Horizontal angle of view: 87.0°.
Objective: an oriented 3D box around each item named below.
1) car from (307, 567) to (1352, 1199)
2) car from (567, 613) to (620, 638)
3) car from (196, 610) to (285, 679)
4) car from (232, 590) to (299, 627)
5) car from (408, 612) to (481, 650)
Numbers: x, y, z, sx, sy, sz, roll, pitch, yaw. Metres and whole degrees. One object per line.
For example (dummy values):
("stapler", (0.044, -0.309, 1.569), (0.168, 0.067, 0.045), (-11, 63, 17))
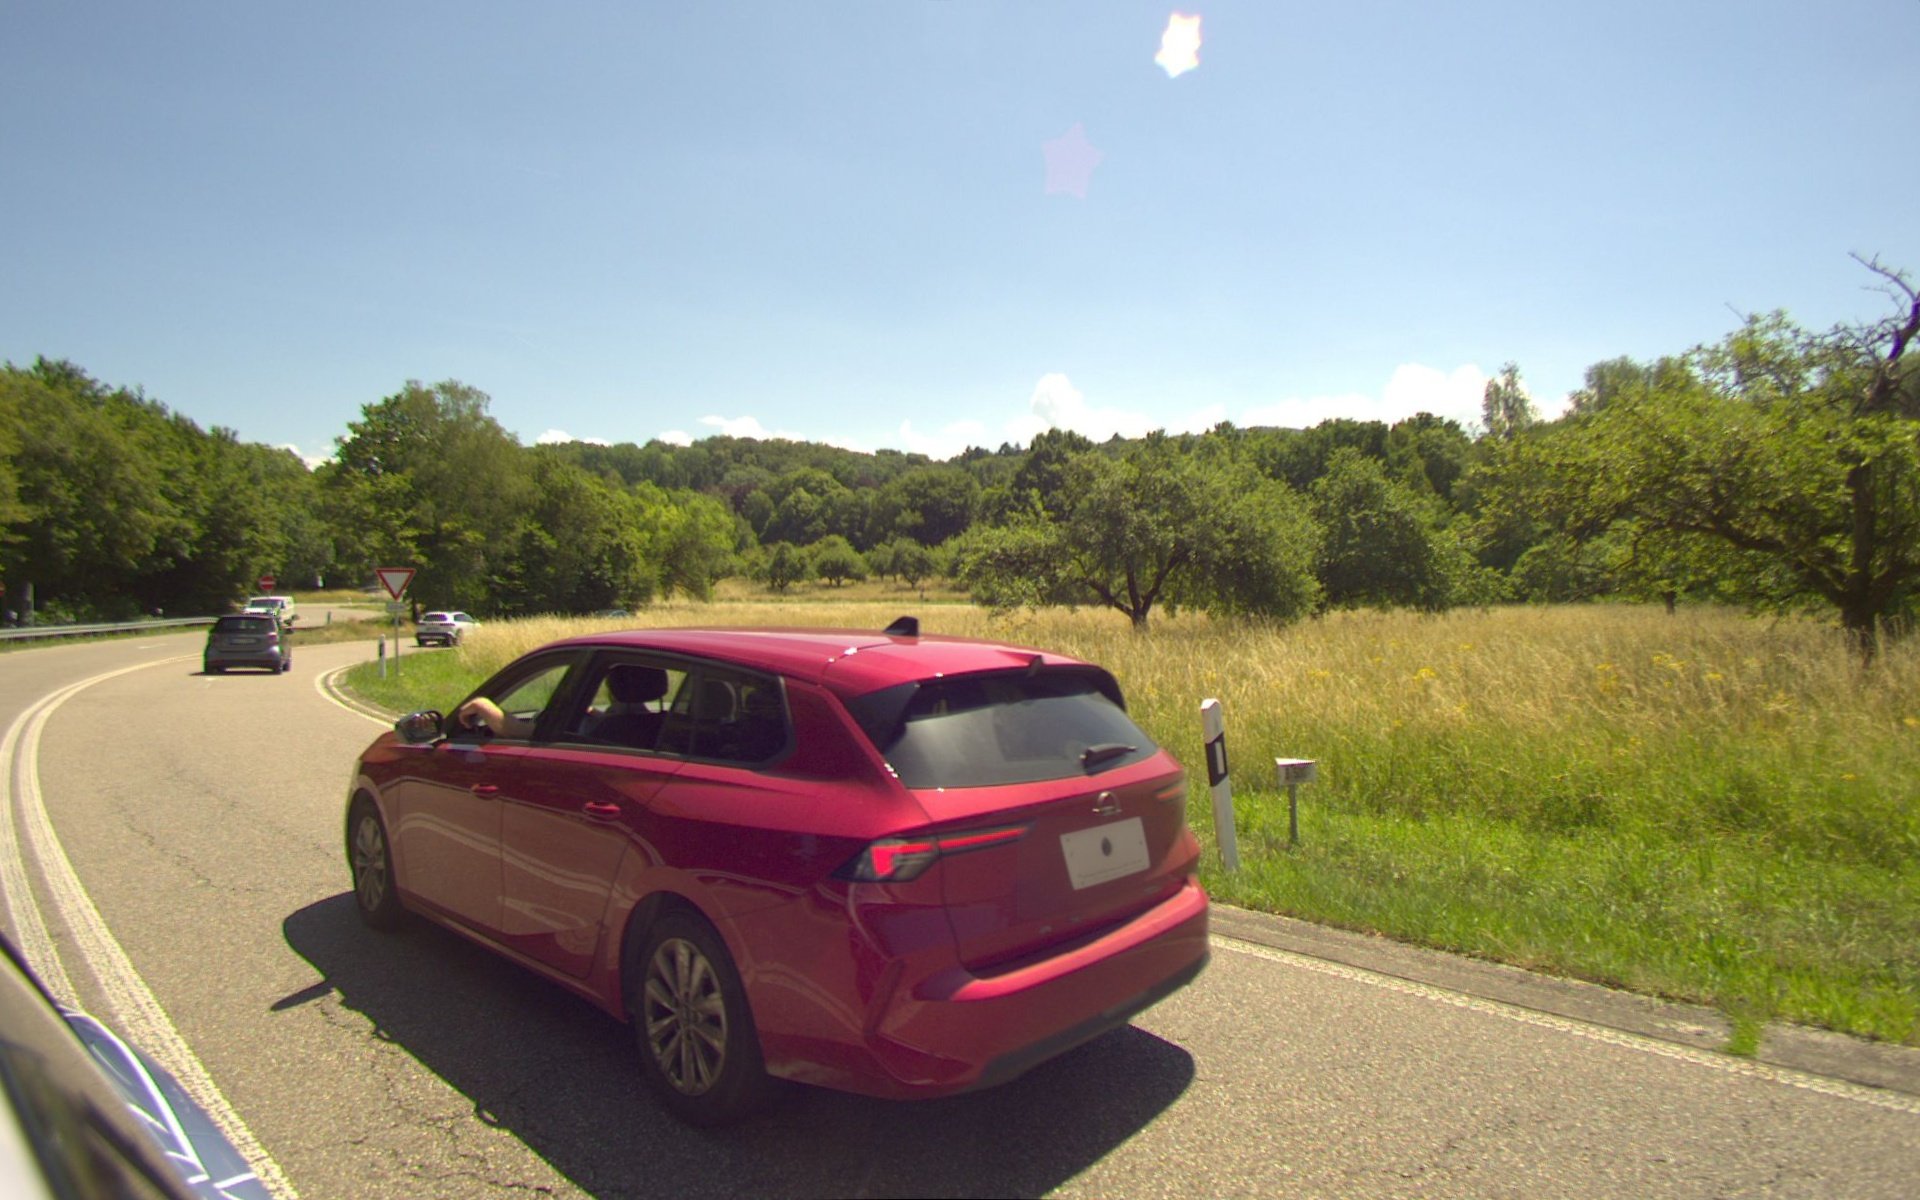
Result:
("car", (-0.953, 0.684, 4.150), (4.400, 1.469, 1.802), (1, -2, 43))
("car", (-24.030, 1.679, 66.538), (1.782, 1.518, 4.658), (1, -1, -1))
("car", (-19.026, 1.106, 26.883), (1.712, 1.517, 4.084), (-5, 3, -34))
("car", (-45.220, 0.514, 66.050), (2.188, 2.048, 5.445), (-4, 3, -20))
("car", (-24.289, 1.451, 47.852), (1.799, 1.602, 4.226), (3, -2, -10))
